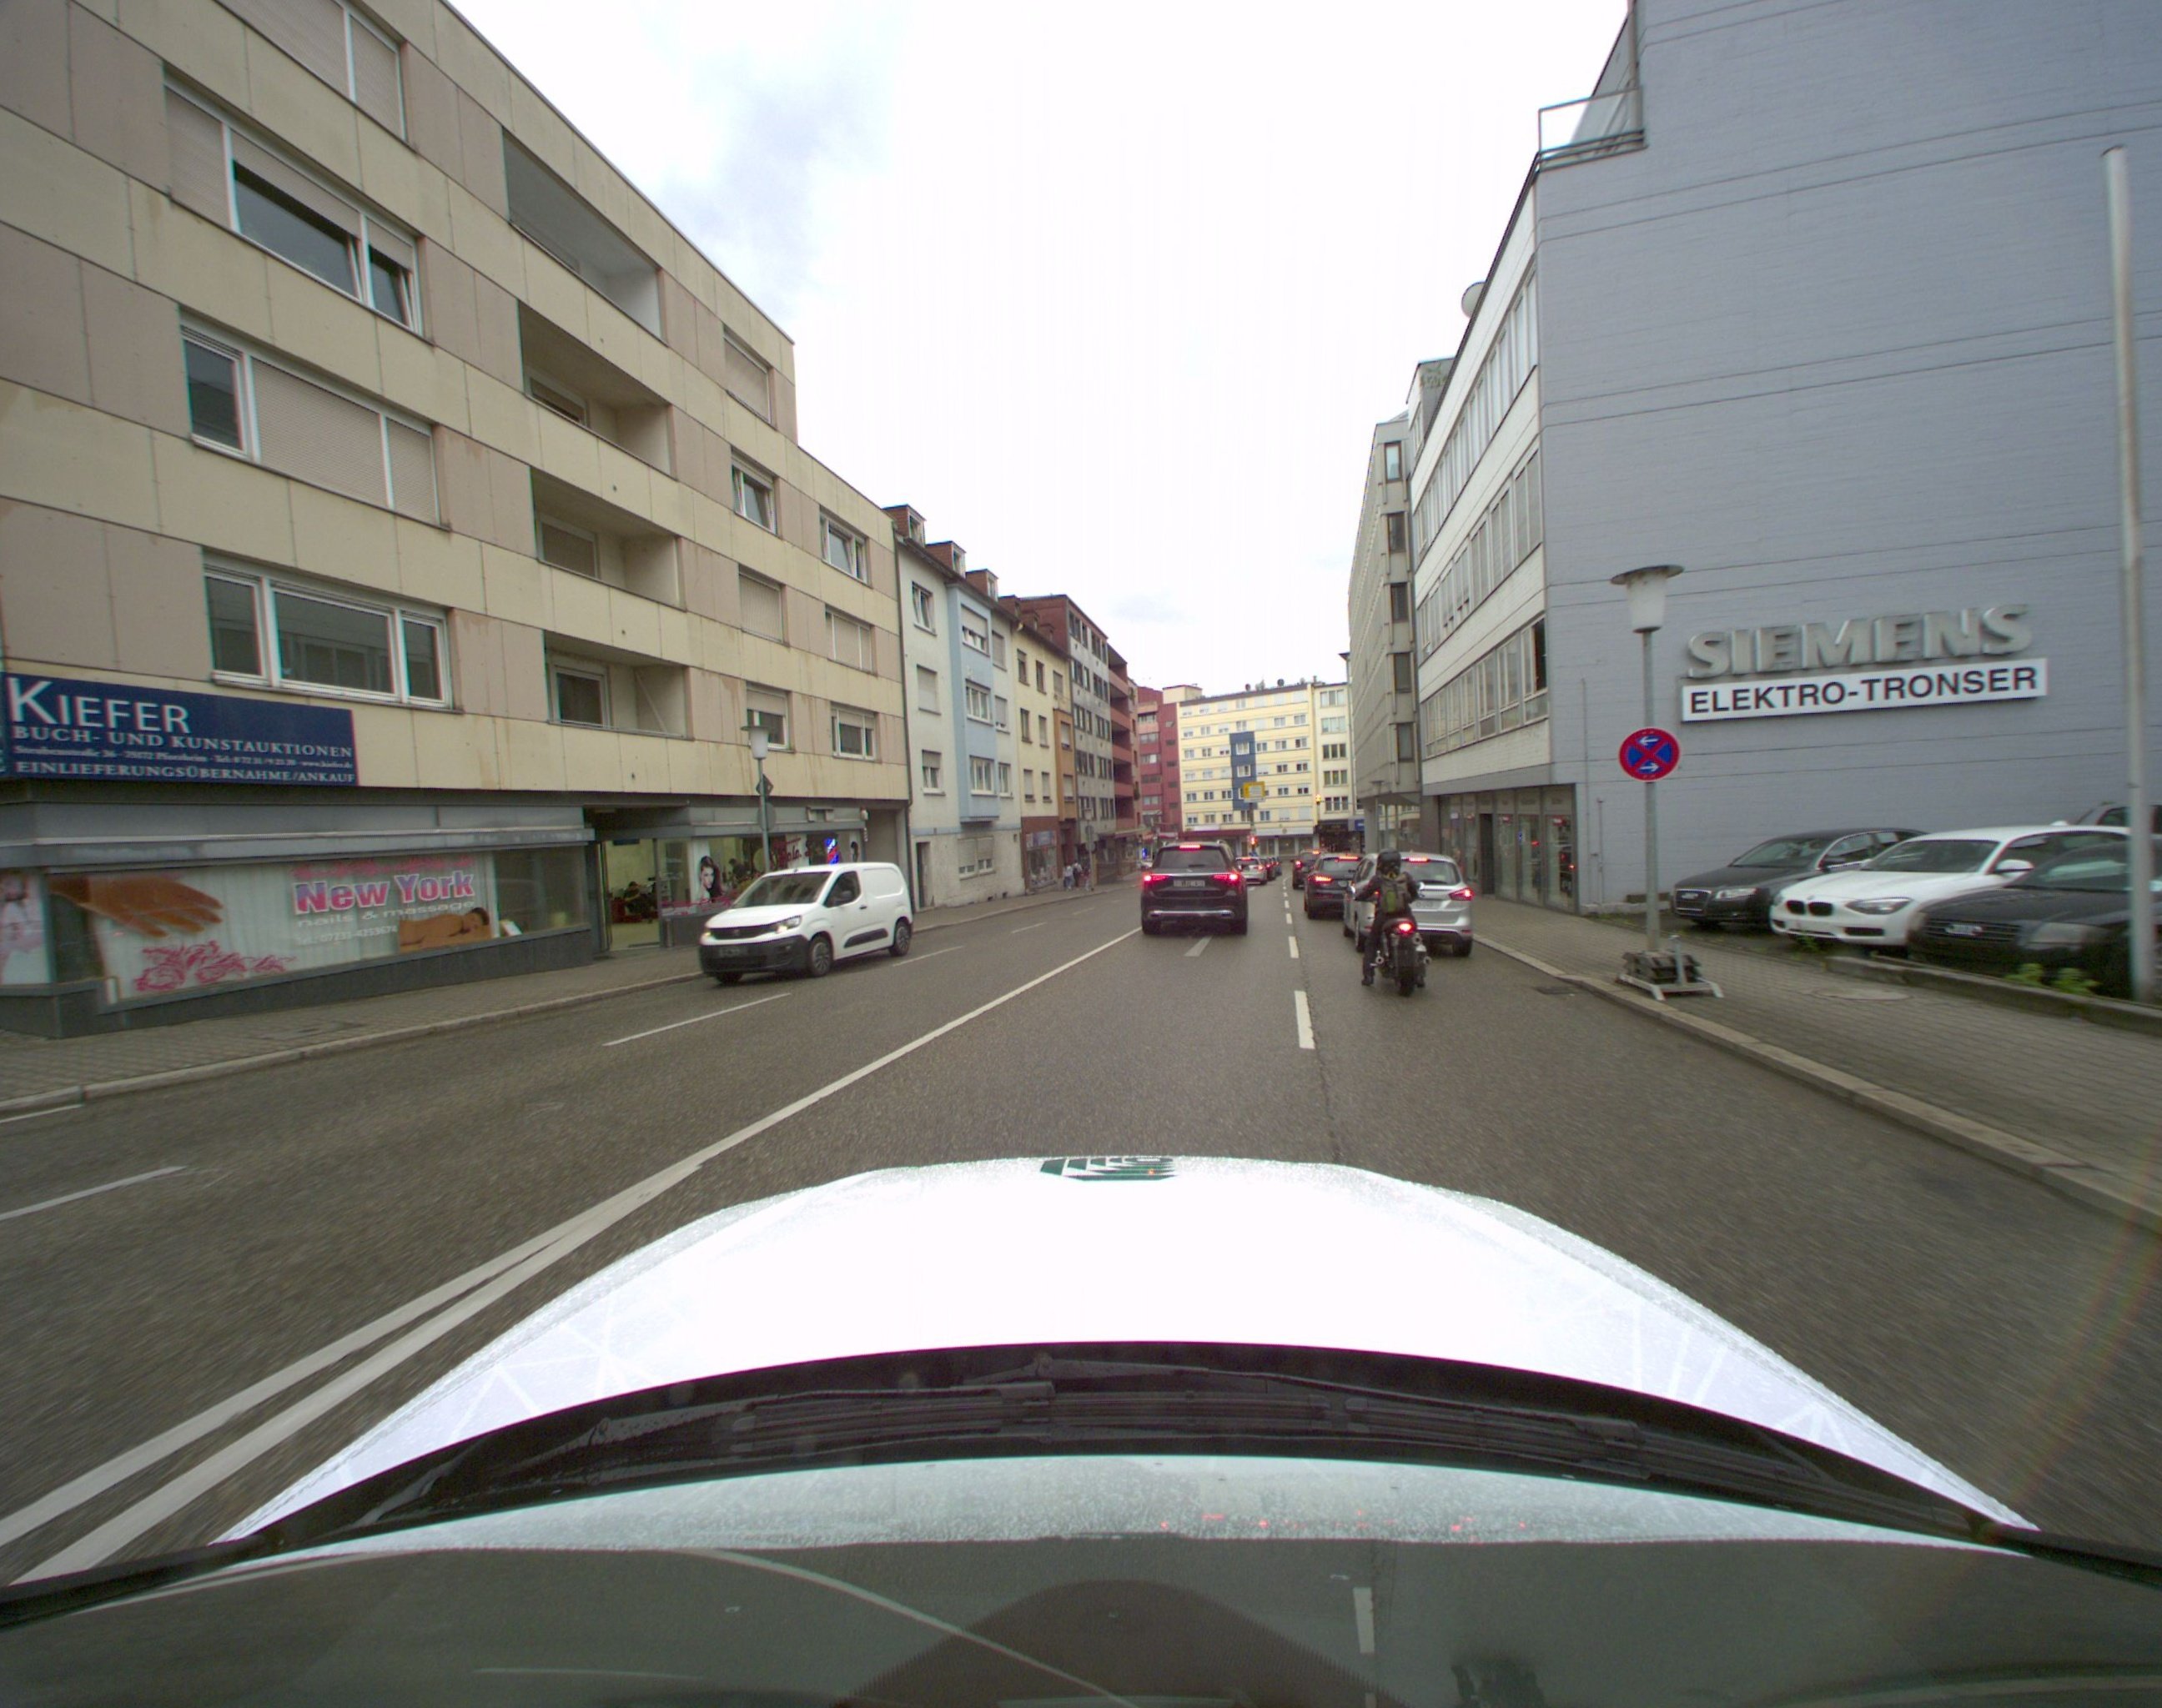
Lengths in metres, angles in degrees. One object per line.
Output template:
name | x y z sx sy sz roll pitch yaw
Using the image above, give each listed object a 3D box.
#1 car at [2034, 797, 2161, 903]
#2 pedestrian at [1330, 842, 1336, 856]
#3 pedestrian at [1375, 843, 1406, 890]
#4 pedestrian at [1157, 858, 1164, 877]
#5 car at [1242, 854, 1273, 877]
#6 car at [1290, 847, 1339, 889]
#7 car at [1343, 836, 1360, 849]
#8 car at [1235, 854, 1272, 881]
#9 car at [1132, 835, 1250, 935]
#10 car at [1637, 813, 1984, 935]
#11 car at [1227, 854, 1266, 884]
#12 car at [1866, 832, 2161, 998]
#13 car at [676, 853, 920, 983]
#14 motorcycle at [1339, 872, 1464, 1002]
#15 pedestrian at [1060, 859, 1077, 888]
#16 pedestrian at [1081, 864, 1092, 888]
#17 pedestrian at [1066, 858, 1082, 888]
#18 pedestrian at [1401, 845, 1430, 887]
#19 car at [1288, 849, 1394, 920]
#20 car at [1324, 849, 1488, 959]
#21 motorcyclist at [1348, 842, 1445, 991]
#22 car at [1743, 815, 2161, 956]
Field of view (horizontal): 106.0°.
car | 16.531 -0.111 11.646 1.775 1.522 3.965 -4 -1 15
pedestrian | 31.557 -0.612 101.922 0.559 1.688 0.760 -2 5 20
pedestrian | 11.736 0.477 30.906 0.779 1.705 1.124 -5 -2 11
pedestrian | 7.342 1.263 75.182 0.550 1.697 0.626 -2 -1 11
car | 12.455 0.840 57.227 1.911 1.515 4.680 0 -1 14
car | 10.363 0.575 36.427 1.884 1.695 4.522 1 0 13
car | 37.830 -1.586 113.804 1.781 1.670 4.022 -3 -1 23
car | 10.466 0.797 49.240 1.979 1.486 4.253 -3 -1 14
car | 2.466 0.567 17.130 2.025 1.799 4.679 -1 0 13
car | 11.511 0.295 13.038 3.978 1.450 1.797 -5 0 -3
car | 8.694 0.736 42.449 1.860 1.495 4.416 -1 0 13
car | 10.468 0.496 7.965 3.974 1.401 1.671 -2 0 0
car | -4.539 0.943 13.875 1.849 1.804 4.281 -3 -1 13
motorcycle | 3.564 0.852 9.305 0.840 1.226 2.379 1 0 9
pedestrian | -0.693 1.070 44.483 0.823 1.561 0.725 0 0 5
pedestrian | 0.321 1.222 45.725 0.530 1.323 0.725 0 0 6
pedestrian | -0.374 1.078 45.783 0.823 1.689 0.725 0 0 5
pedestrian | 12.991 0.465 31.682 0.760 1.551 0.893 -5 -2 11
car | 6.366 0.686 20.379 1.813 1.560 4.210 1 0 7
car | 5.321 0.712 13.909 1.815 1.541 4.265 1 0 11
motorcyclist | 3.567 0.672 9.287 0.840 1.589 0.965 1 0 9
car | 11.185 0.364 10.451 3.976 1.530 1.762 -2 0 -2
